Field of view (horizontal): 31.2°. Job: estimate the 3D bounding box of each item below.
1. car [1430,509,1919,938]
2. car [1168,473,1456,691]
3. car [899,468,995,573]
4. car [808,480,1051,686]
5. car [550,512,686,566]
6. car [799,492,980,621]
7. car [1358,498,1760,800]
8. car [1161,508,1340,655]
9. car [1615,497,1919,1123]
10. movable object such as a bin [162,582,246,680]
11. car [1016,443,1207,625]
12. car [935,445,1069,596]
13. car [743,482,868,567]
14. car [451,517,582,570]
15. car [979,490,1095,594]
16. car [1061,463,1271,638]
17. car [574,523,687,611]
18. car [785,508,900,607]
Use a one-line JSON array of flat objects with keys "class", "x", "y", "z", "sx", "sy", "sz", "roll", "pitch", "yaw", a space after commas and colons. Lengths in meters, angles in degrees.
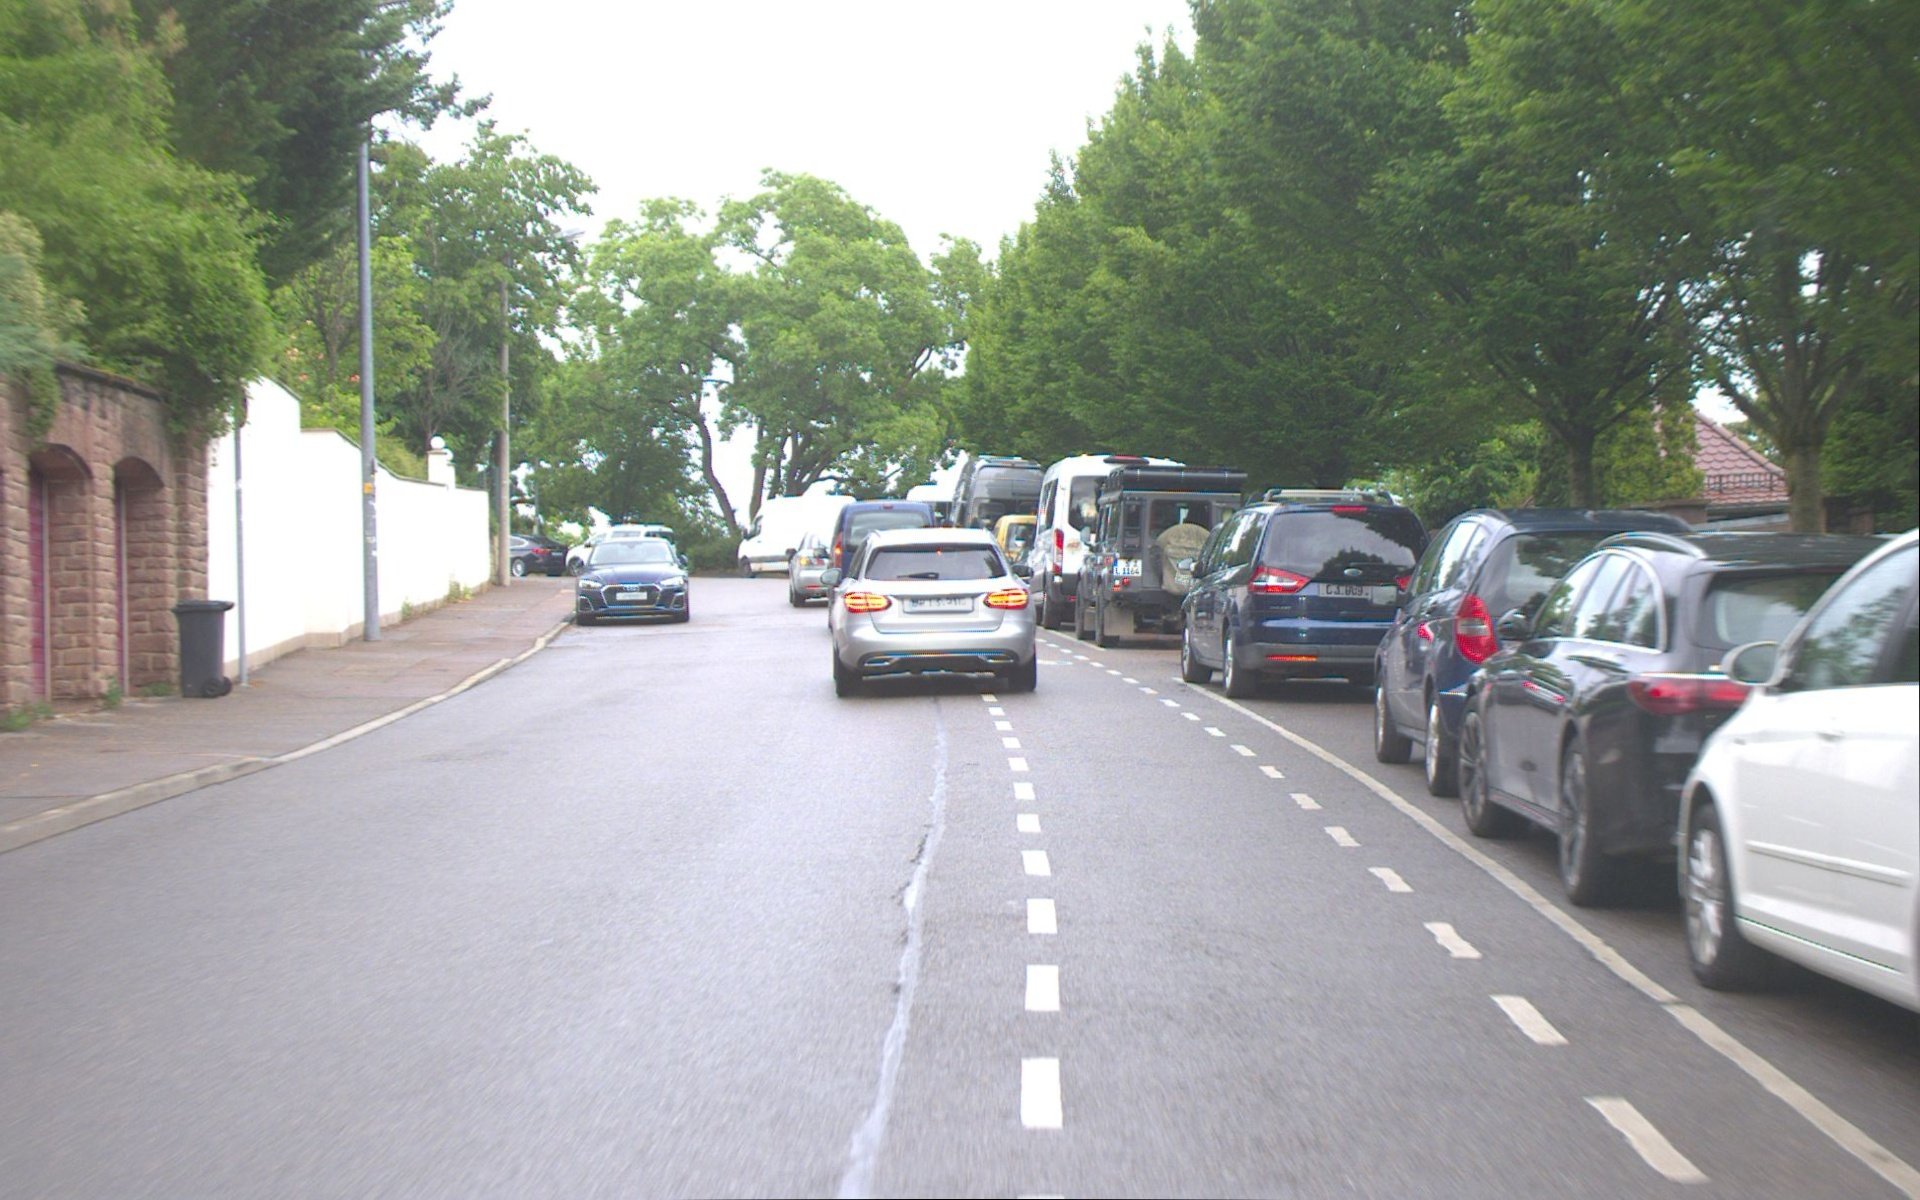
[{"class": "car", "x": 3.378, "y": 0.408, "z": 14.959, "sx": 1.993, "sy": 1.532, "sz": 4.850, "roll": 2, "pitch": 1, "yaw": 0}, {"class": "car", "x": 3.053, "y": -0.205, "z": 30.738, "sx": 1.780, "sy": 1.777, "sz": 4.680, "roll": 1, "pitch": 1, "yaw": -4}, {"class": "car", "x": -0.360, "y": -2.005, "z": 86.356, "sx": 2.064, "sy": 2.486, "sz": 4.760, "roll": 2, "pitch": 1, "yaw": -3}, {"class": "car", "x": -0.292, "y": -0.202, "z": 31.438, "sx": 2.025, "sy": 1.702, "sz": 4.216, "roll": -2, "pitch": 2, "yaw": -1}, {"class": "car", "x": -11.846, "y": -2.113, "z": 119.048, "sx": 4.492, "sy": 1.692, "sz": 1.966, "roll": 3, "pitch": 2, "yaw": 37}, {"class": "car", "x": -1.049, "y": -0.600, "z": 48.811, "sx": 1.993, "sy": 1.702, "sz": 4.001, "roll": 2, "pitch": 0, "yaw": -9}, {"class": "car", "x": 3.403, "y": 0.214, "z": 20.206, "sx": 1.693, "sy": 1.565, "sz": 3.922, "roll": 1, "pitch": 1, "yaw": 1}, {"class": "car", "x": 3.188, "y": -0.228, "z": 38.211, "sx": 1.596, "sy": 1.553, "sz": 2.955, "roll": 1, "pitch": 1, "yaw": -3}, {"class": "car", "x": 3.314, "y": 0.522, "z": 10.102, "sx": 1.783, "sy": 1.603, "sz": 4.224, "roll": 1, "pitch": 1, "yaw": -2}, {"class": "movable object such as a bin", "x": -7.256, "y": 0.295, "z": 33.021, "sx": 0.658, "sy": 0.916, "sz": 0.677, "roll": 1, "pitch": 1, "yaw": 0}, {"class": "car", "x": 2.189, "y": -0.998, "z": 51.571, "sx": 2.173, "sy": 2.484, "sz": 6.035, "roll": 3, "pitch": 1, "yaw": -3}, {"class": "car", "x": 0.809, "y": -1.638, "z": 70.559, "sx": 2.124, "sy": 2.877, "sz": 5.770, "roll": 2, "pitch": 1, "yaw": -5}, {"class": "car", "x": -4.945, "y": -2.415, "z": 109.382, "sx": 2.125, "sy": 2.518, "sz": 4.497, "roll": 2, "pitch": 1, "yaw": -28}, {"class": "car", "x": -15.834, "y": -2.019, "z": 122.559, "sx": 4.666, "sy": 1.692, "sz": 1.966, "roll": 4, "pitch": 2, "yaw": 41}, {"class": "car", "x": 1.414, "y": -1.104, "z": 64.495, "sx": 1.727, "sy": 1.779, "sz": 4.276, "roll": 4, "pitch": 1, "yaw": -3}, {"class": "car", "x": 2.539, "y": -0.639, "z": 43.715, "sx": 1.993, "sy": 2.045, "sz": 5.122, "roll": 1, "pitch": 1, "yaw": -4}, {"class": "car", "x": -5.431, "y": -0.578, "z": 57.052, "sx": 1.748, "sy": 1.353, "sz": 4.426, "roll": -1, "pitch": 2, "yaw": -4}, {"class": "car", "x": -2.150, "y": -0.766, "z": 63.178, "sx": 1.993, "sy": 1.702, "sz": 4.000, "roll": 2, "pitch": 0, "yaw": -2}]
